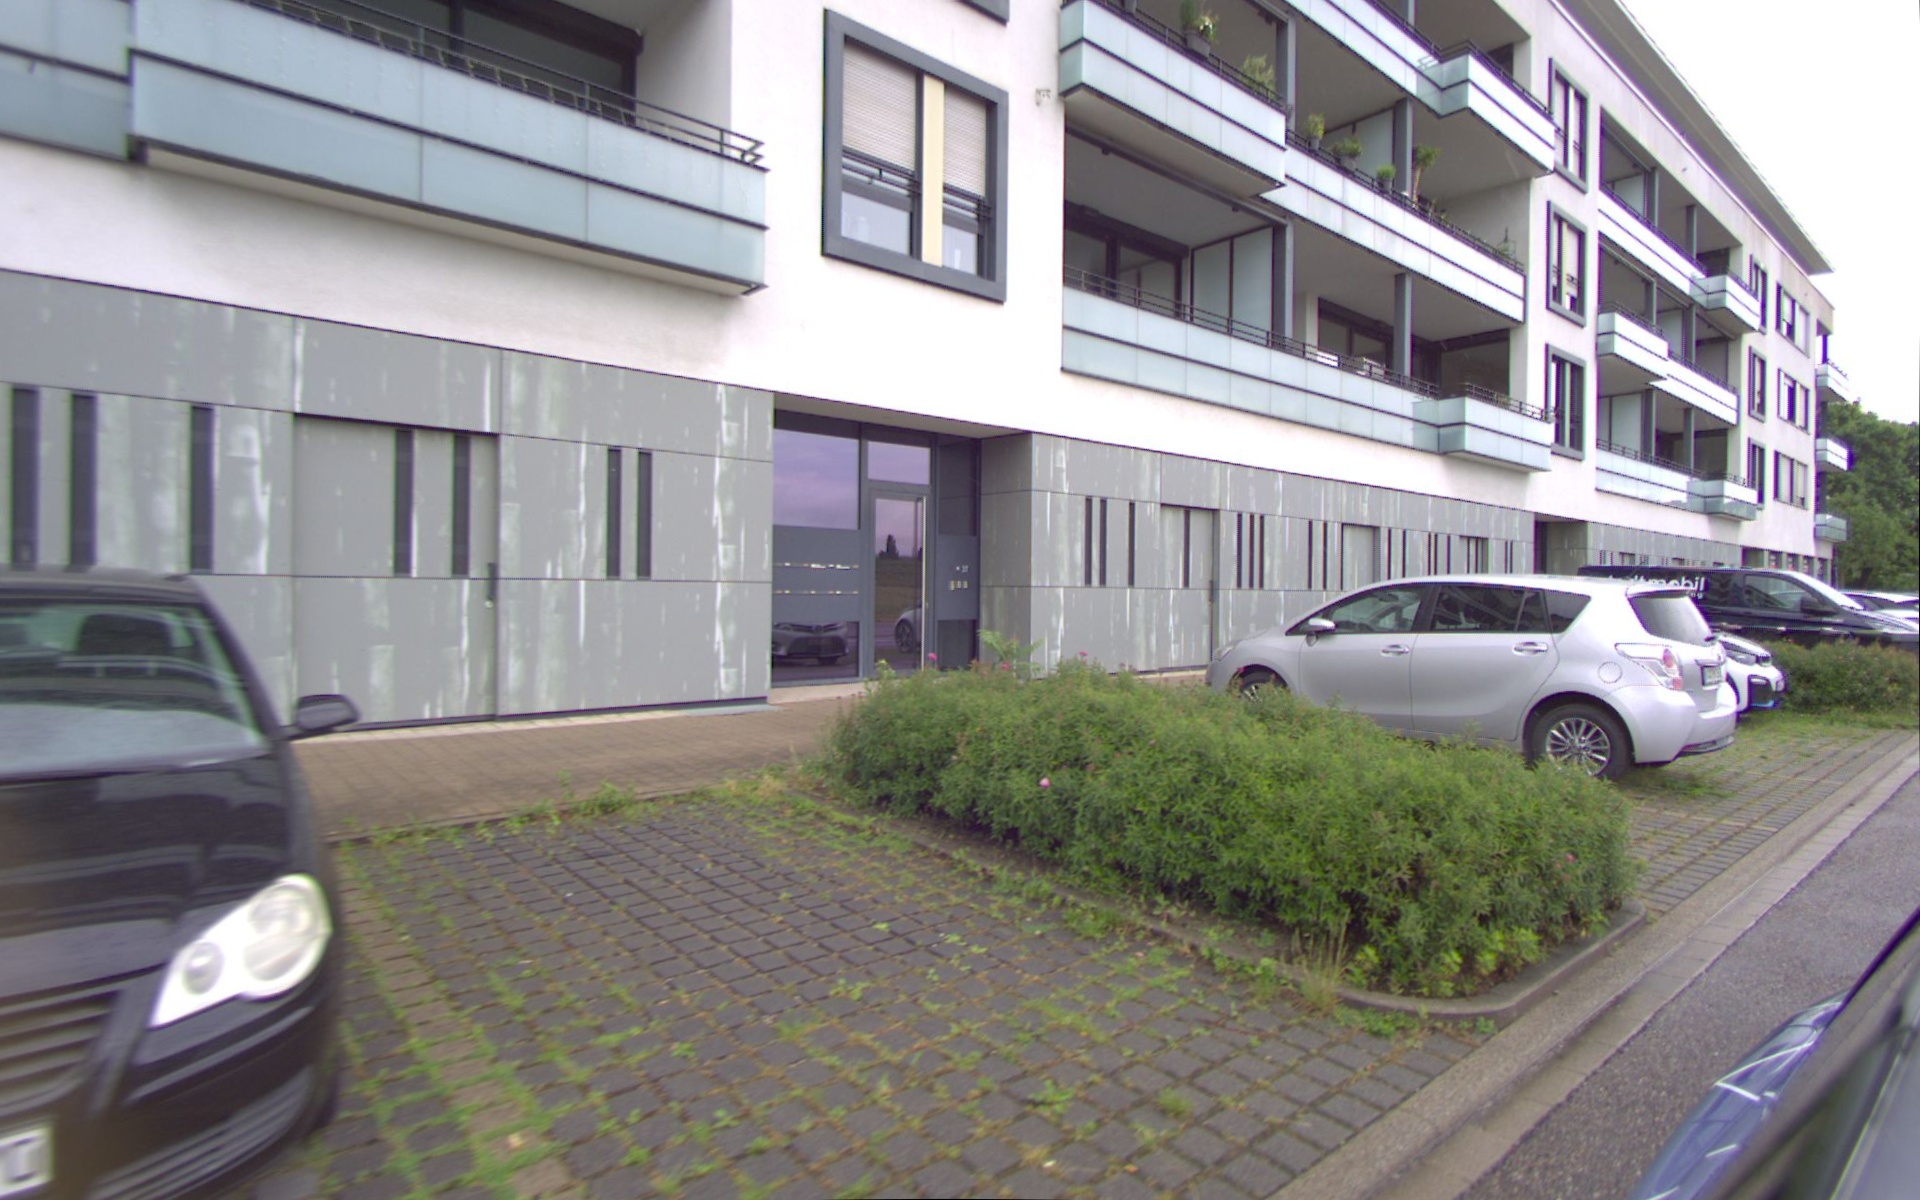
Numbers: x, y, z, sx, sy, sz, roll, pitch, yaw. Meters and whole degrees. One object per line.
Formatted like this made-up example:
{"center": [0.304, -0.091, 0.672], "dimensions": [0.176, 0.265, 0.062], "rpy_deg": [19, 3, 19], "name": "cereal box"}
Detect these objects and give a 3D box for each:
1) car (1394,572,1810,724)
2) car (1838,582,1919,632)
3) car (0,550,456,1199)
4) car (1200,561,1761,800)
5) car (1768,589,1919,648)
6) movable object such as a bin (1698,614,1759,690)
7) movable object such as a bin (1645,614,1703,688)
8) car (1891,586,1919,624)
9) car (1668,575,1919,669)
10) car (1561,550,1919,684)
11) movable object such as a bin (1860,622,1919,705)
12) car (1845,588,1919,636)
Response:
{"center": [8.027, 0.458, 12.964], "dimensions": [1.721, 1.501, 4.181], "rpy_deg": [-1, 4, -43], "name": "car"}
{"center": [33.865, 0.244, 35.207], "dimensions": [1.835, 1.685, 4.793], "rpy_deg": [0, 1, -41], "name": "car"}
{"center": [-2.949, 0.627, 3.074], "dimensions": [1.731, 1.509, 3.855], "rpy_deg": [0, 3, -39], "name": "car"}
{"center": [4.419, 0.488, 9.180], "dimensions": [1.657, 1.664, 4.217], "rpy_deg": [-1, 2, -40], "name": "car"}
{"center": [24.610, 0.460, 27.373], "dimensions": [1.681, 1.496, 4.097], "rpy_deg": [0, 1, -41], "name": "car"}
{"center": [11.368, 0.758, 14.977], "dimensions": [0.802, 1.059, 0.540], "rpy_deg": [0, 1, -39], "name": "movable object such as a bin"}
{"center": [10.897, 0.762, 15.440], "dimensions": [0.803, 1.059, 0.540], "rpy_deg": [0, 1, -40], "name": "movable object such as a bin"}
{"center": [39.681, 0.212, 40.067], "dimensions": [1.755, 1.505, 3.994], "rpy_deg": [0, 1, -41], "name": "car"}
{"center": [17.584, 0.365, 20.862], "dimensions": [2.043, 1.621, 4.435], "rpy_deg": [0, 3, -35], "name": "car"}
{"center": [13.641, 0.159, 17.613], "dimensions": [1.947, 1.952, 5.061], "rpy_deg": [0, 3, -40], "name": "car"}
{"center": [12.760, 0.841, 13.625], "dimensions": [0.530, 1.059, 0.818], "rpy_deg": [0, 1, -2], "name": "movable object such as a bin"}
{"center": [30.893, 0.379, 32.134], "dimensions": [1.755, 1.505, 3.994], "rpy_deg": [0, 1, -41], "name": "car"}
